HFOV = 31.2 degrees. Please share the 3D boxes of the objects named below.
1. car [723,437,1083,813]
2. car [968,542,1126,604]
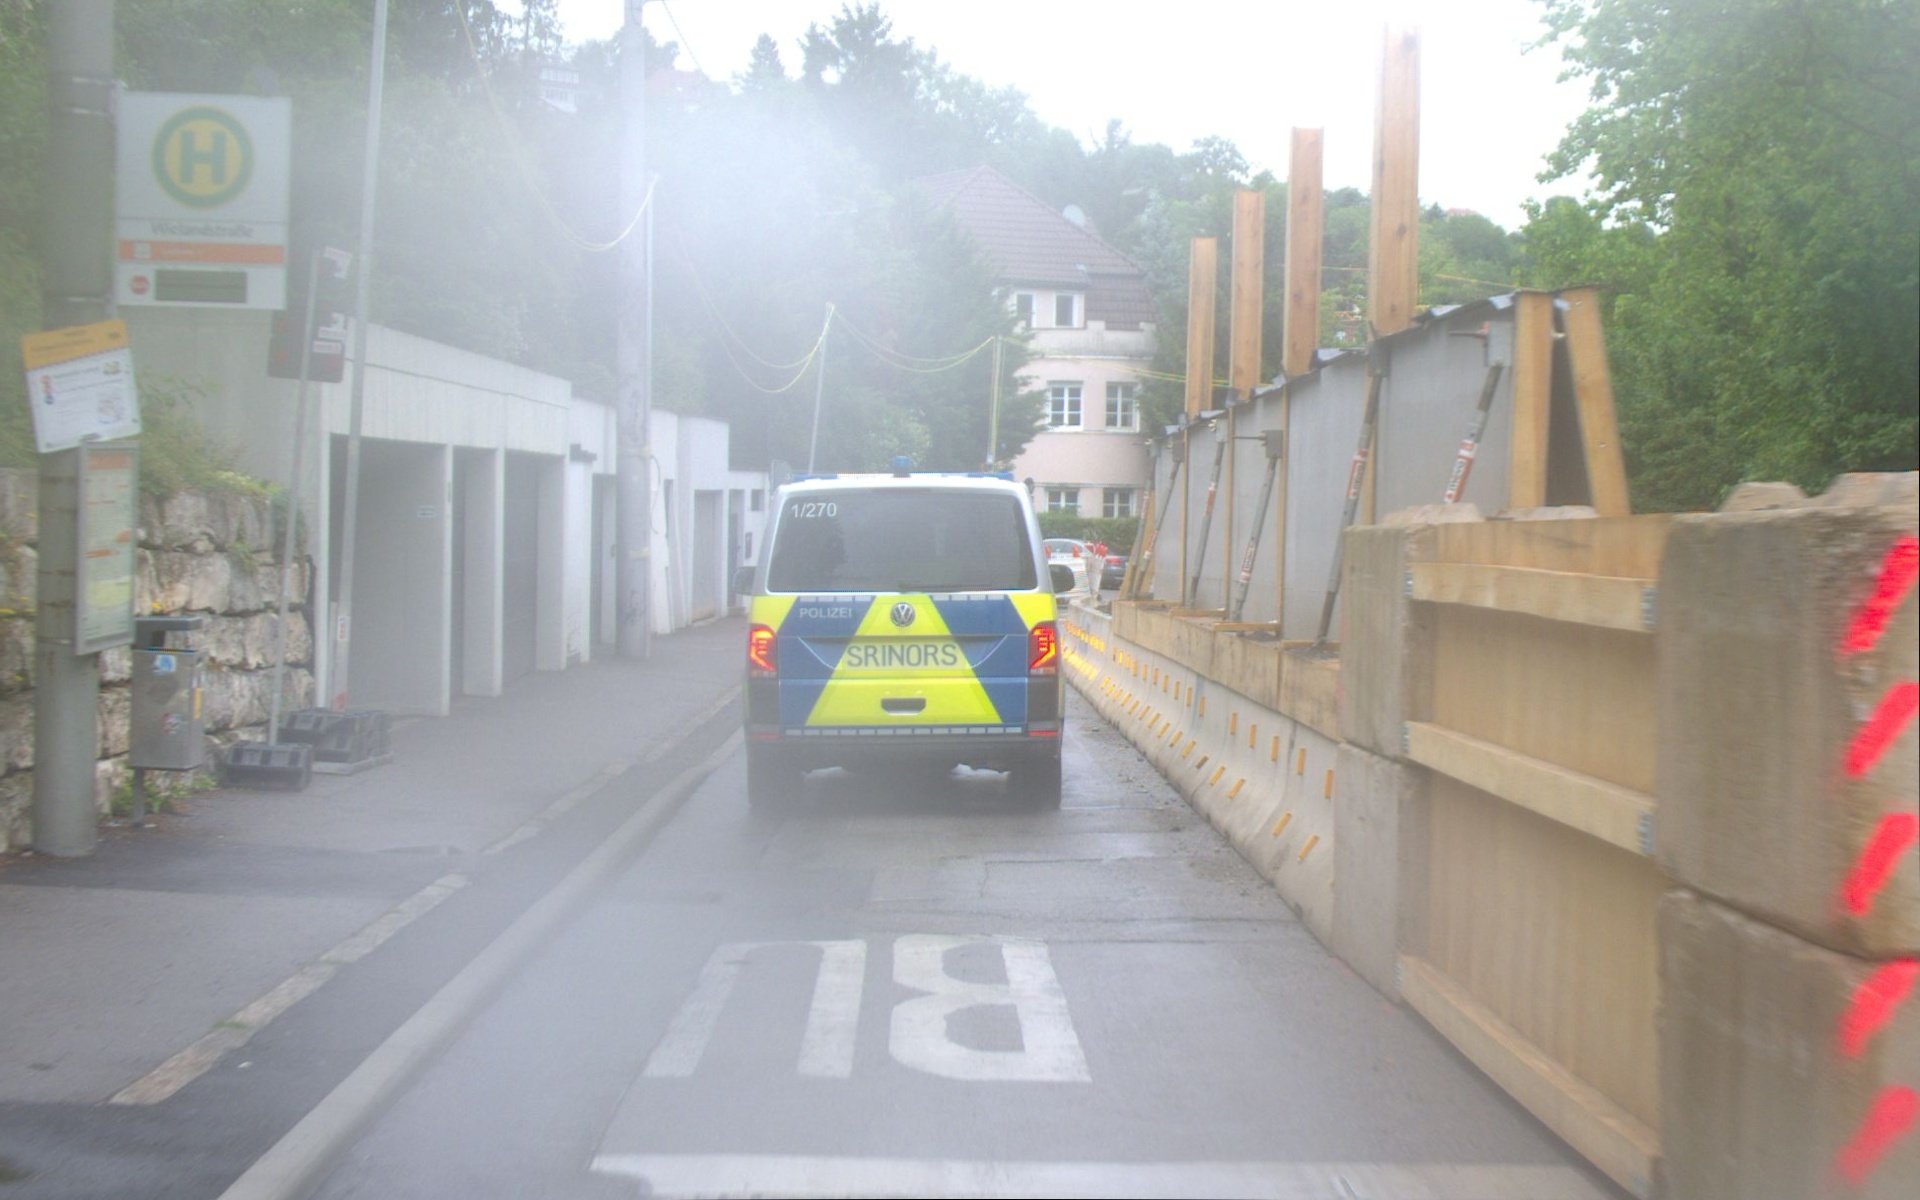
[{"bbox_3d":[-0.346,0.133,21.382,1.908,2.003,4.440,3,0,-1],"label":"car"},{"bbox_3d":[2.408,-0.759,95.350,3.994,1.512,1.725,3,0,30],"label":"car"}]
